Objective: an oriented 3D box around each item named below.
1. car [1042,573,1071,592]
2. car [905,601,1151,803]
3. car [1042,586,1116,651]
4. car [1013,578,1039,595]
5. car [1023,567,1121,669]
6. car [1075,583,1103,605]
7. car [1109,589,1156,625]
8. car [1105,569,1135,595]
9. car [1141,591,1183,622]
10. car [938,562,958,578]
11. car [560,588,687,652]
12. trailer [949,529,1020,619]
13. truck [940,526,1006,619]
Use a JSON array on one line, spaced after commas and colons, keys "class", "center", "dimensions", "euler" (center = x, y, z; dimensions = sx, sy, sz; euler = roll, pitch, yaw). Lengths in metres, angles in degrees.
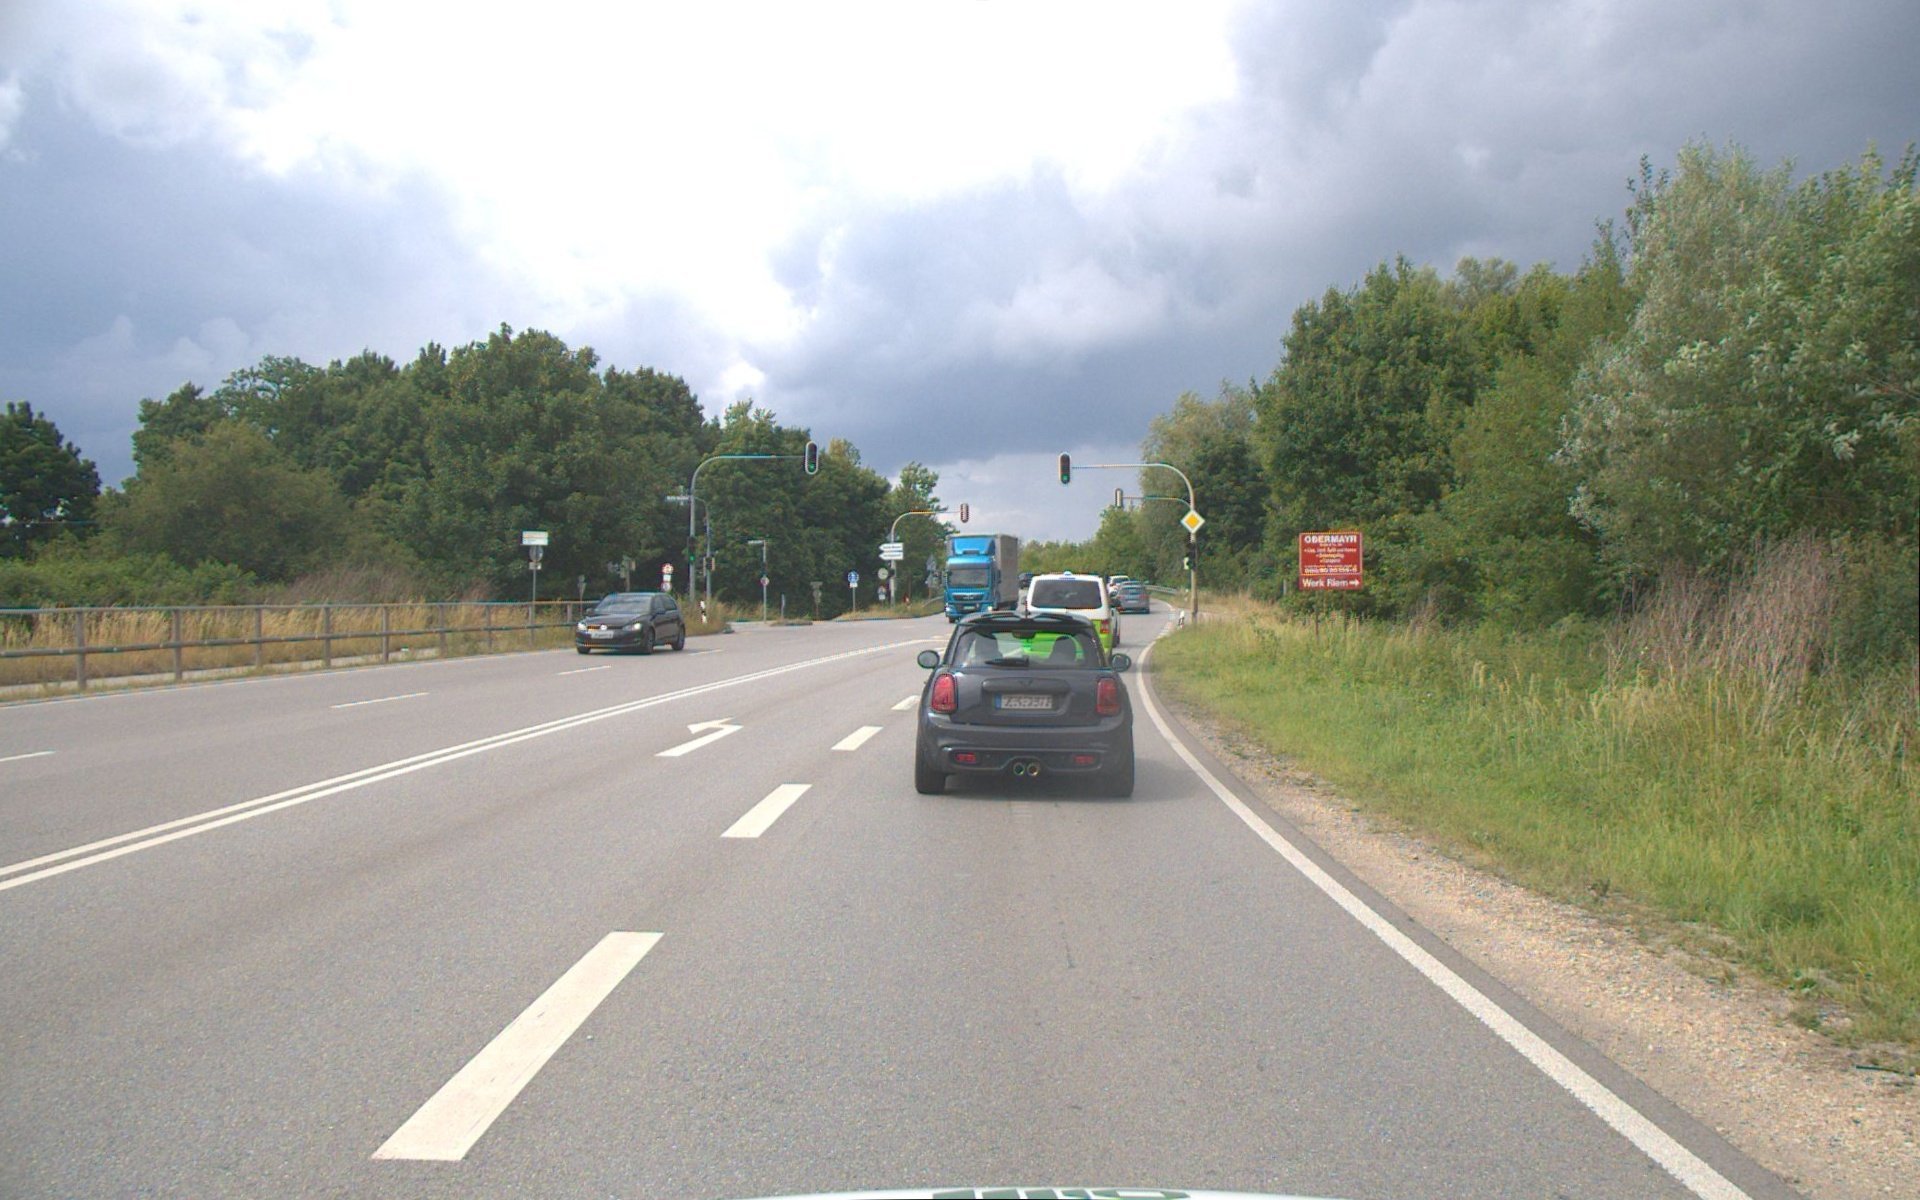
[{"class": "car", "center": [9.136, -1.618, 156.729], "dimensions": [1.955, 1.725, 4.479], "euler": [0, 0, -7]}, {"class": "car", "center": [0.544, 0.757, 14.160], "dimensions": [1.807, 1.453, 3.841], "euler": [1, 0, 1]}, {"class": "car", "center": [3.390, 0.510, 46.439], "dimensions": [1.951, 1.713, 4.003], "euler": [0, 0, 6]}, {"class": "car", "center": [6.920, -1.424, 173.786], "dimensions": [1.956, 1.725, 4.477], "euler": [0, 0, -9]}, {"class": "car", "center": [2.416, 0.364, 34.947], "dimensions": [1.805, 2.022, 3.844], "euler": [1, 0, 7]}, {"class": "car", "center": [11.033, -0.539, 141.305], "dimensions": [1.953, 1.713, 3.998], "euler": [1, -1, -1]}, {"class": "car", "center": [8.884, 0.360, 85.079], "dimensions": [1.951, 1.713, 4.003], "euler": [1, -2, 12]}, {"class": "car", "center": [11.677, -1.309, 120.836], "dimensions": [1.952, 1.713, 4.001], "euler": [1, -1, 4]}, {"class": "car", "center": [12.048, 0.394, 98.303], "dimensions": [1.951, 1.713, 3.980], "euler": [1, -2, 14]}, {"class": "car", "center": [-1.387, -3.360, 182.700], "dimensions": [1.954, 1.720, 3.997], "euler": [-1, 1, -4]}, {"class": "car", "center": [-8.017, 0.453, 39.744], "dimensions": [1.905, 1.466, 4.002], "euler": [0, 0, 5]}, {"class": "trailer", "center": [1.252, -1.225, 79.897], "dimensions": [2.473, 4.172, 6.741], "euler": [0, 0, 9]}, {"class": "truck", "center": [0.625, -1.232, 76.013], "dimensions": [2.485, 4.168, 4.003], "euler": [0, 0, 9]}]
